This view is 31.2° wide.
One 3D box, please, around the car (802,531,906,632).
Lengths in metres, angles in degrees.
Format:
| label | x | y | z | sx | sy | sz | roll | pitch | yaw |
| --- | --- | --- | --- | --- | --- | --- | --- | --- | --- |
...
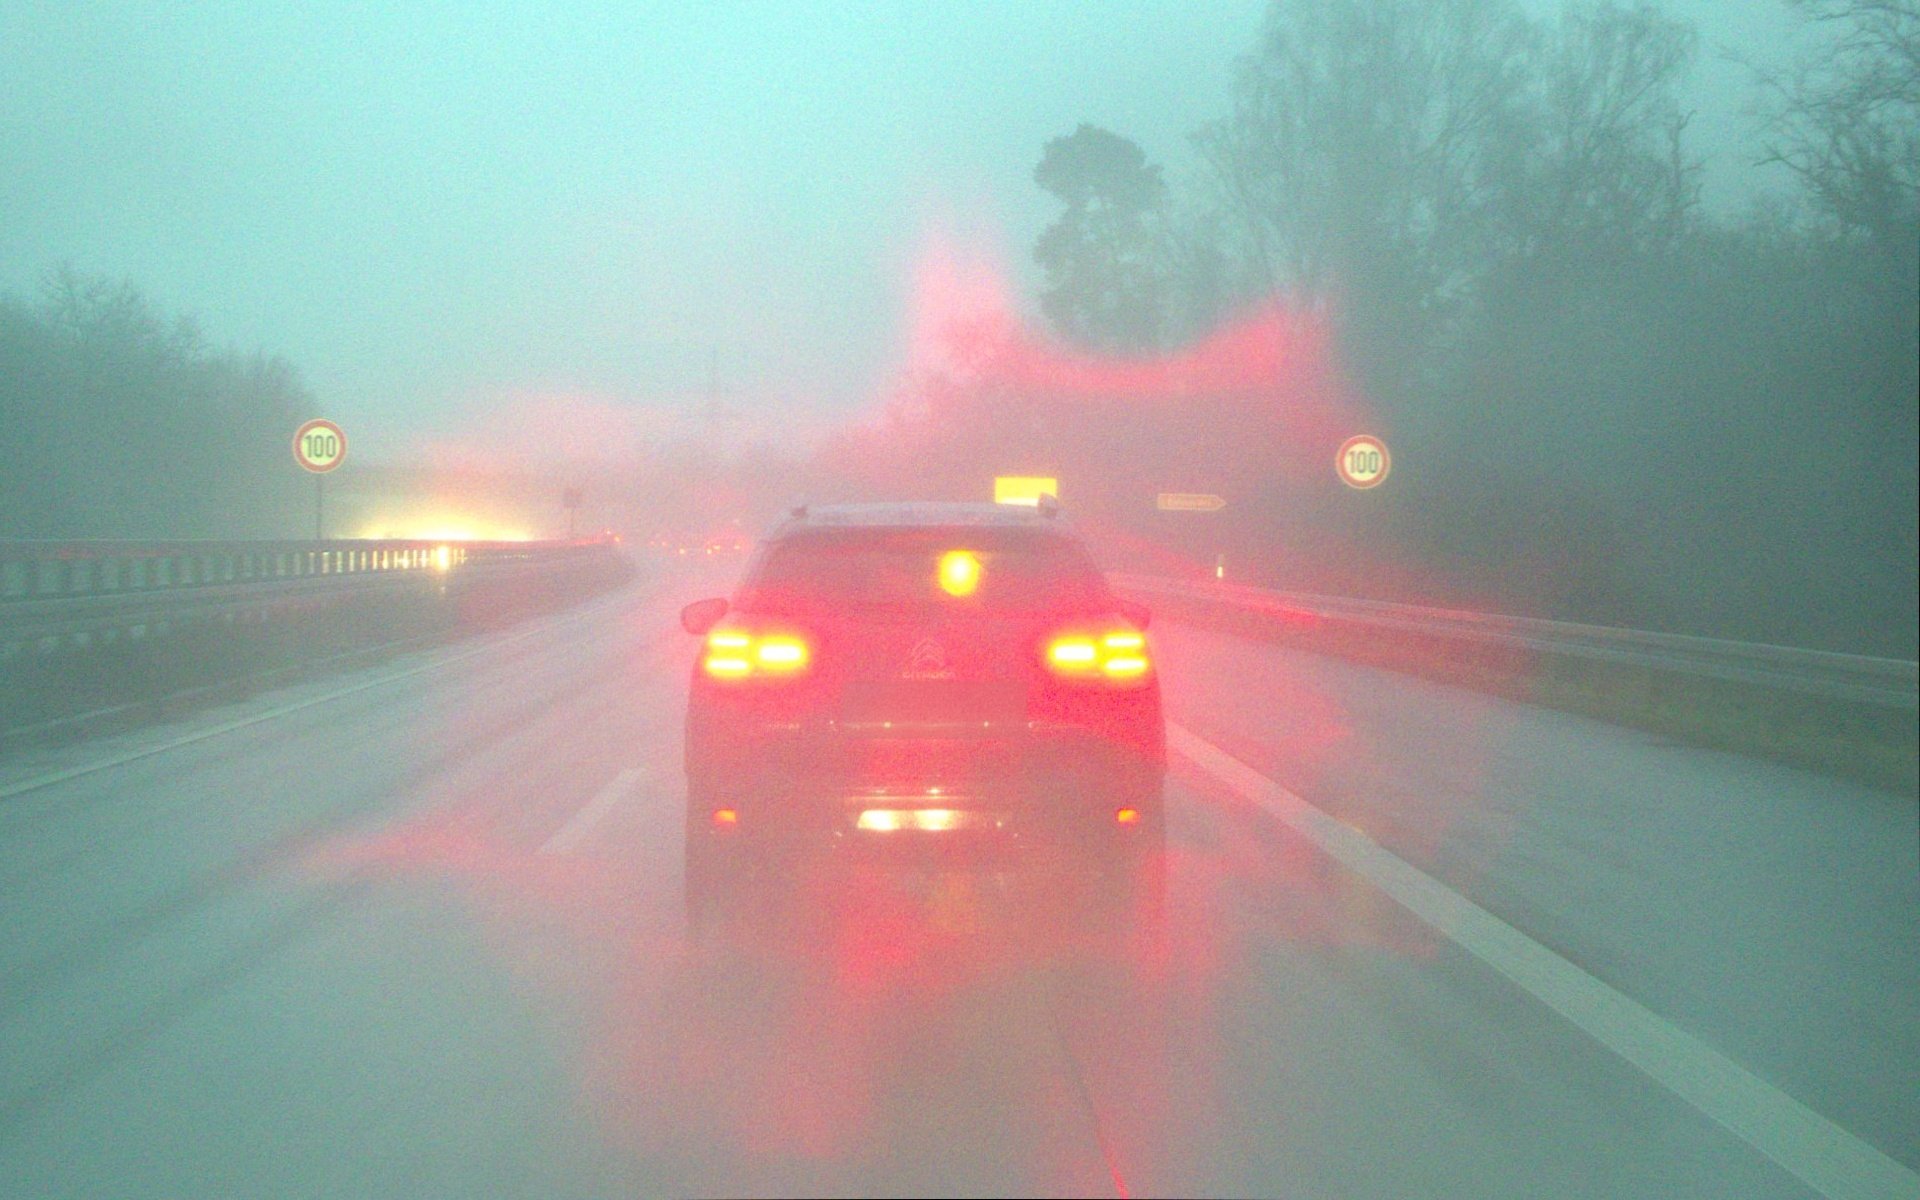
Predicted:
| label | x | y | z | sx | sy | sz | roll | pitch | yaw |
| --- | --- | --- | --- | --- | --- | --- | --- | --- | --- |
| car | -2.216 | -0.393 | 70.835 | 1.993 | 2.007 | 4.001 | 0 | 1 | -4 |

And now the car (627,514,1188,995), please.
| label | x | y | z | sx | sy | sz | roll | pitch | yaw |
| --- | --- | --- | --- | --- | --- | --- | --- | --- | --- |
| car | -0.251 | 0.526 | 14.210 | 1.992 | 1.709 | 3.830 | 0 | 1 | -2 |
